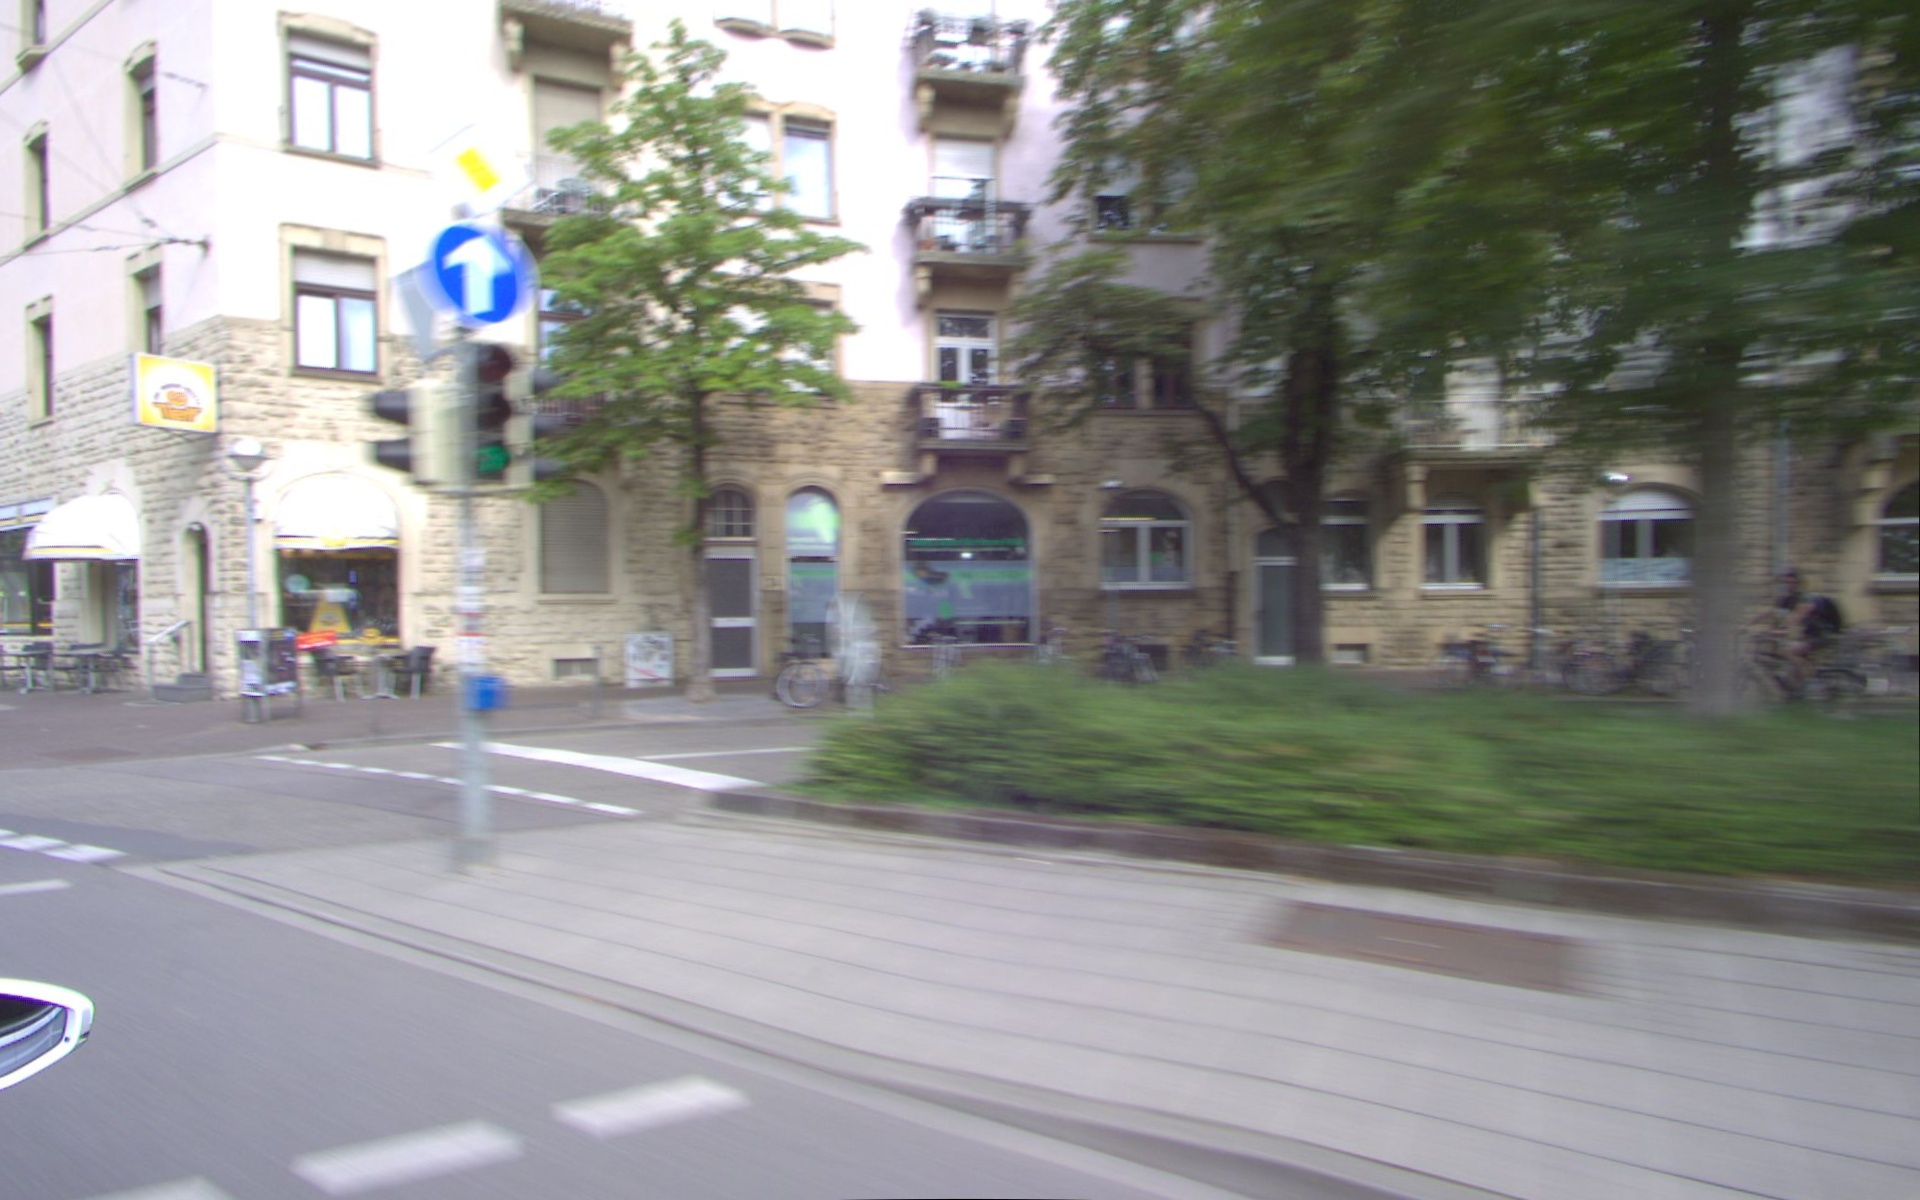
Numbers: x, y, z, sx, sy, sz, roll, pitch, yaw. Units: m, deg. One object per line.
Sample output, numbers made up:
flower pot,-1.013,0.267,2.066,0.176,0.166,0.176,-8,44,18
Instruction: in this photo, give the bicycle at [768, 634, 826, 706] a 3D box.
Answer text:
bicycle,-2.531,1.049,15.429,0.593,0.985,1.668,-1,0,-20

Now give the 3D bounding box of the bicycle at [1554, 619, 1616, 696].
bicycle,10.158,0.899,16.322,0.589,1.143,1.888,0,0,23

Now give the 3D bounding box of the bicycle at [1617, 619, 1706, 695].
bicycle,11.358,0.891,16.265,0.572,1.143,1.891,0,0,15

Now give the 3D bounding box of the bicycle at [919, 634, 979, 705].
bicycle,-0.192,1.048,15.472,0.523,0.985,1.646,-1,0,-15

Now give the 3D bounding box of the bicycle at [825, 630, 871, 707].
bicycle,-1.723,1.009,15.297,0.441,1.069,1.646,-1,0,-15

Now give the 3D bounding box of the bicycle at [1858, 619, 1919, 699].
bicycle,14.517,0.884,15.475,0.524,1.143,1.886,0,0,28

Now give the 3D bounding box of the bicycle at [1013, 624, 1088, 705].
bicycle,1.379,0.955,15.534,0.523,1.143,1.891,-1,0,-15

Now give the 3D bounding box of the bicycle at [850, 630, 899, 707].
bicycle,-1.323,1.004,15.225,0.441,1.069,1.646,-1,0,-15

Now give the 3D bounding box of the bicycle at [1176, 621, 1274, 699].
bicycle,4.225,0.933,16.115,0.655,1.143,1.891,-1,0,-15

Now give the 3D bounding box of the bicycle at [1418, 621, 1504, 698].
bicycle,8.249,0.947,16.581,0.522,1.143,1.893,0,1,2

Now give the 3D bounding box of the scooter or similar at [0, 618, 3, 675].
scooter or similar,-20.872,0.988,21.258,1.243,1.204,0.507,0,1,33

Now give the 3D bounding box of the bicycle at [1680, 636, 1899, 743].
bicycle,9.679,1.028,11.721,2.062,1.167,0.655,0,1,-3

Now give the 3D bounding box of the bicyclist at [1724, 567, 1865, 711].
bicyclist,9.739,0.445,11.719,1.117,1.627,0.646,0,1,-3

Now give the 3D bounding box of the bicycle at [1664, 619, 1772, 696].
bicycle,12.148,0.885,16.118,0.583,1.143,1.893,0,0,10

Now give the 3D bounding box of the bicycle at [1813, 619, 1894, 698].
bicycle,13.988,0.878,15.716,0.524,1.143,1.886,0,0,28

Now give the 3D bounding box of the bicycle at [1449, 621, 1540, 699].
bicycle,8.789,0.950,16.543,0.522,1.143,1.893,0,1,2

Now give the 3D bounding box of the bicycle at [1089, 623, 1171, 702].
bicycle,2.658,0.954,15.876,0.523,1.143,1.891,-1,0,-15

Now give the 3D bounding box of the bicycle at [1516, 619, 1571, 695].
bicycle,9.597,0.906,16.514,0.554,1.143,1.888,0,0,23
